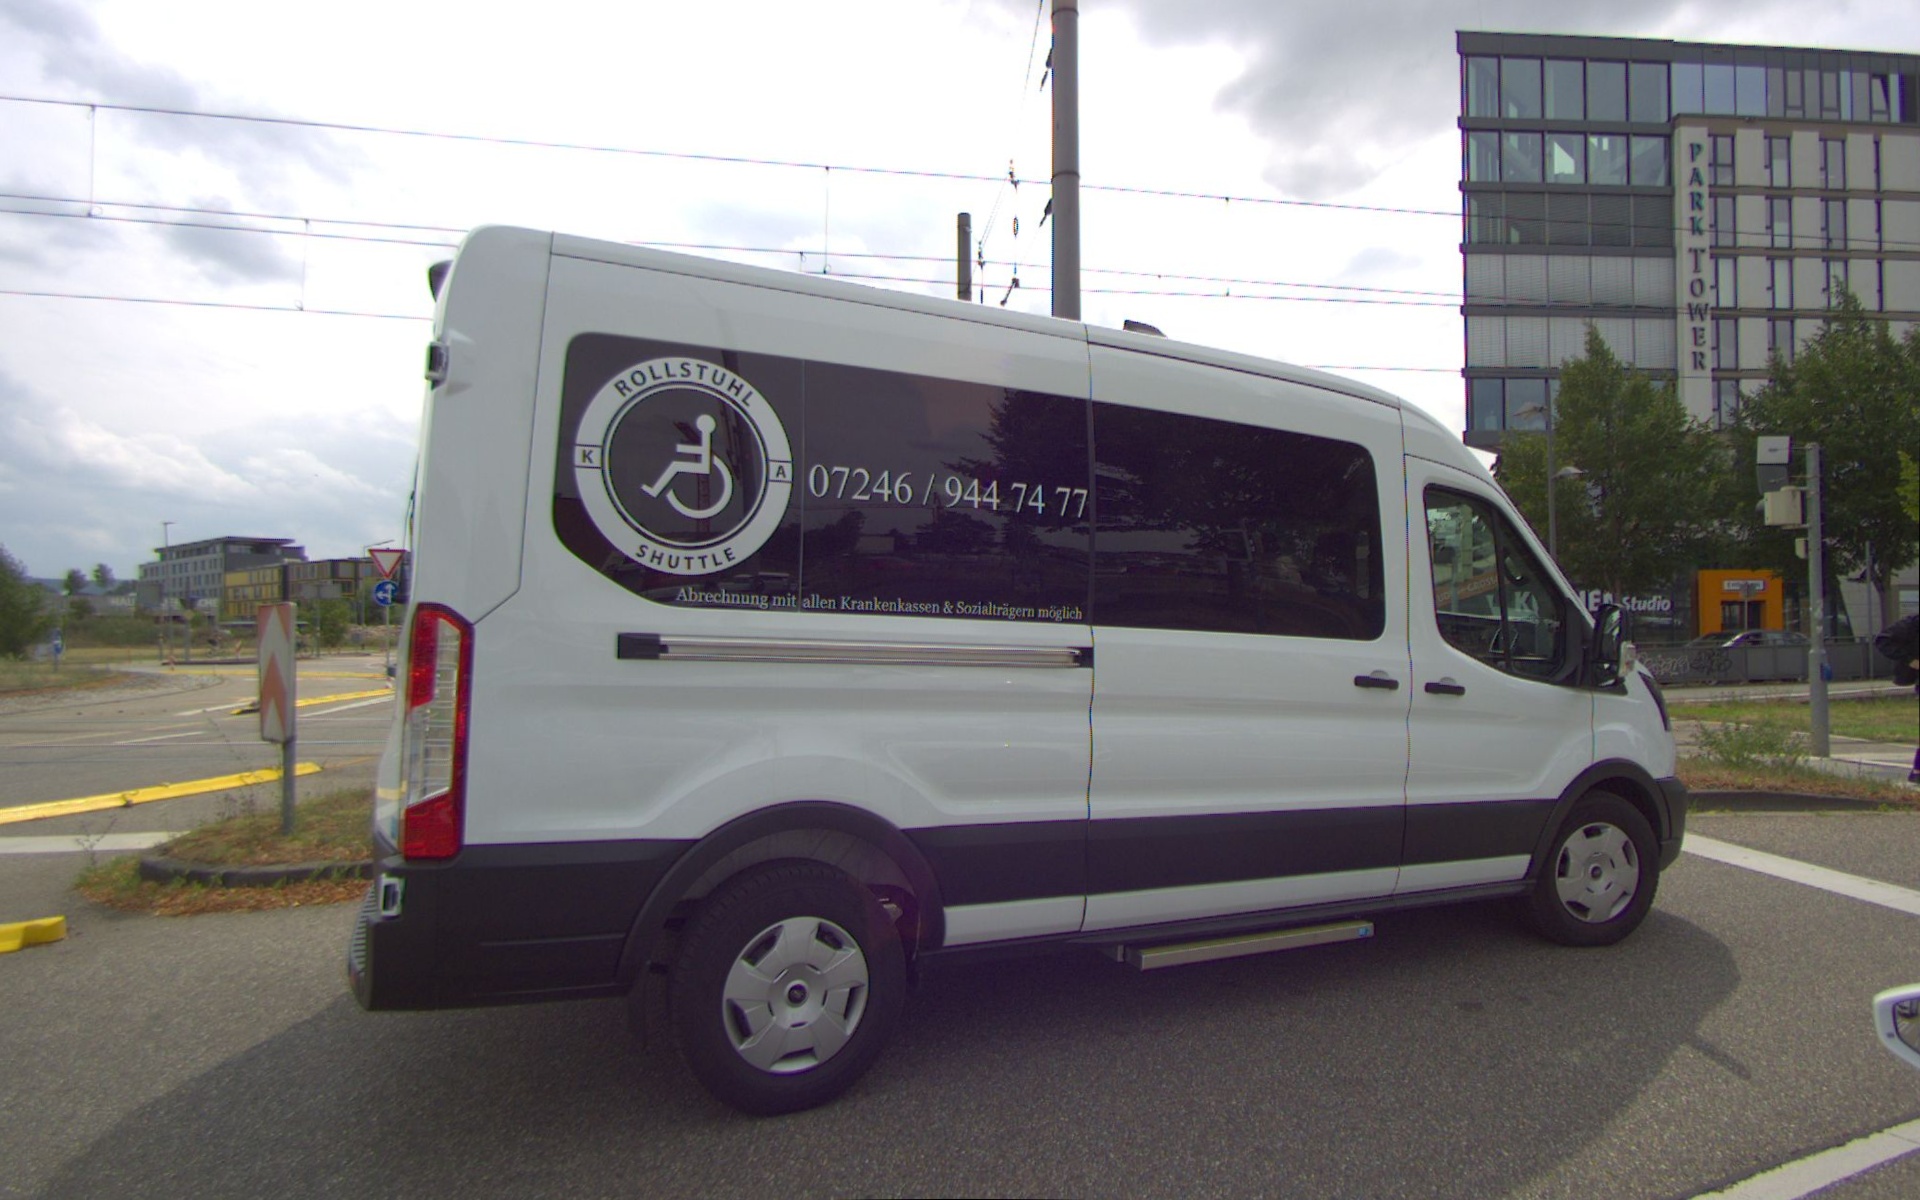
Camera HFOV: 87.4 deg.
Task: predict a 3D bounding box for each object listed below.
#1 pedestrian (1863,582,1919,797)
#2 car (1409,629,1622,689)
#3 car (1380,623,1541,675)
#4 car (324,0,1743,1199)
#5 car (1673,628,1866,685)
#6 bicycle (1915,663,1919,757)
[{"bbox_3d":[8.315,0.753,8.631,0.622,1.805,0.552,0,-1,-10],"label":"pedestrian"},{"bbox_3d":[14.553,1.527,26.451,4.647,1.477,1.848,0,-1,-4],"label":"car"},{"bbox_3d":[14.906,1.434,30.072,3.923,1.477,1.848,0,-1,-4],"label":"car"},{"bbox_3d":[0.673,0.104,4.340,5.559,2.733,2.119,0,-2,-27],"label":"car"},{"bbox_3d":[22.306,1.530,27.761,3.923,1.477,1.848,0,-1,-3],"label":"car"},{"bbox_3d":[10.873,1.179,10.159,0.642,1.020,1.755,0,-1,-7],"label":"bicycle"}]
